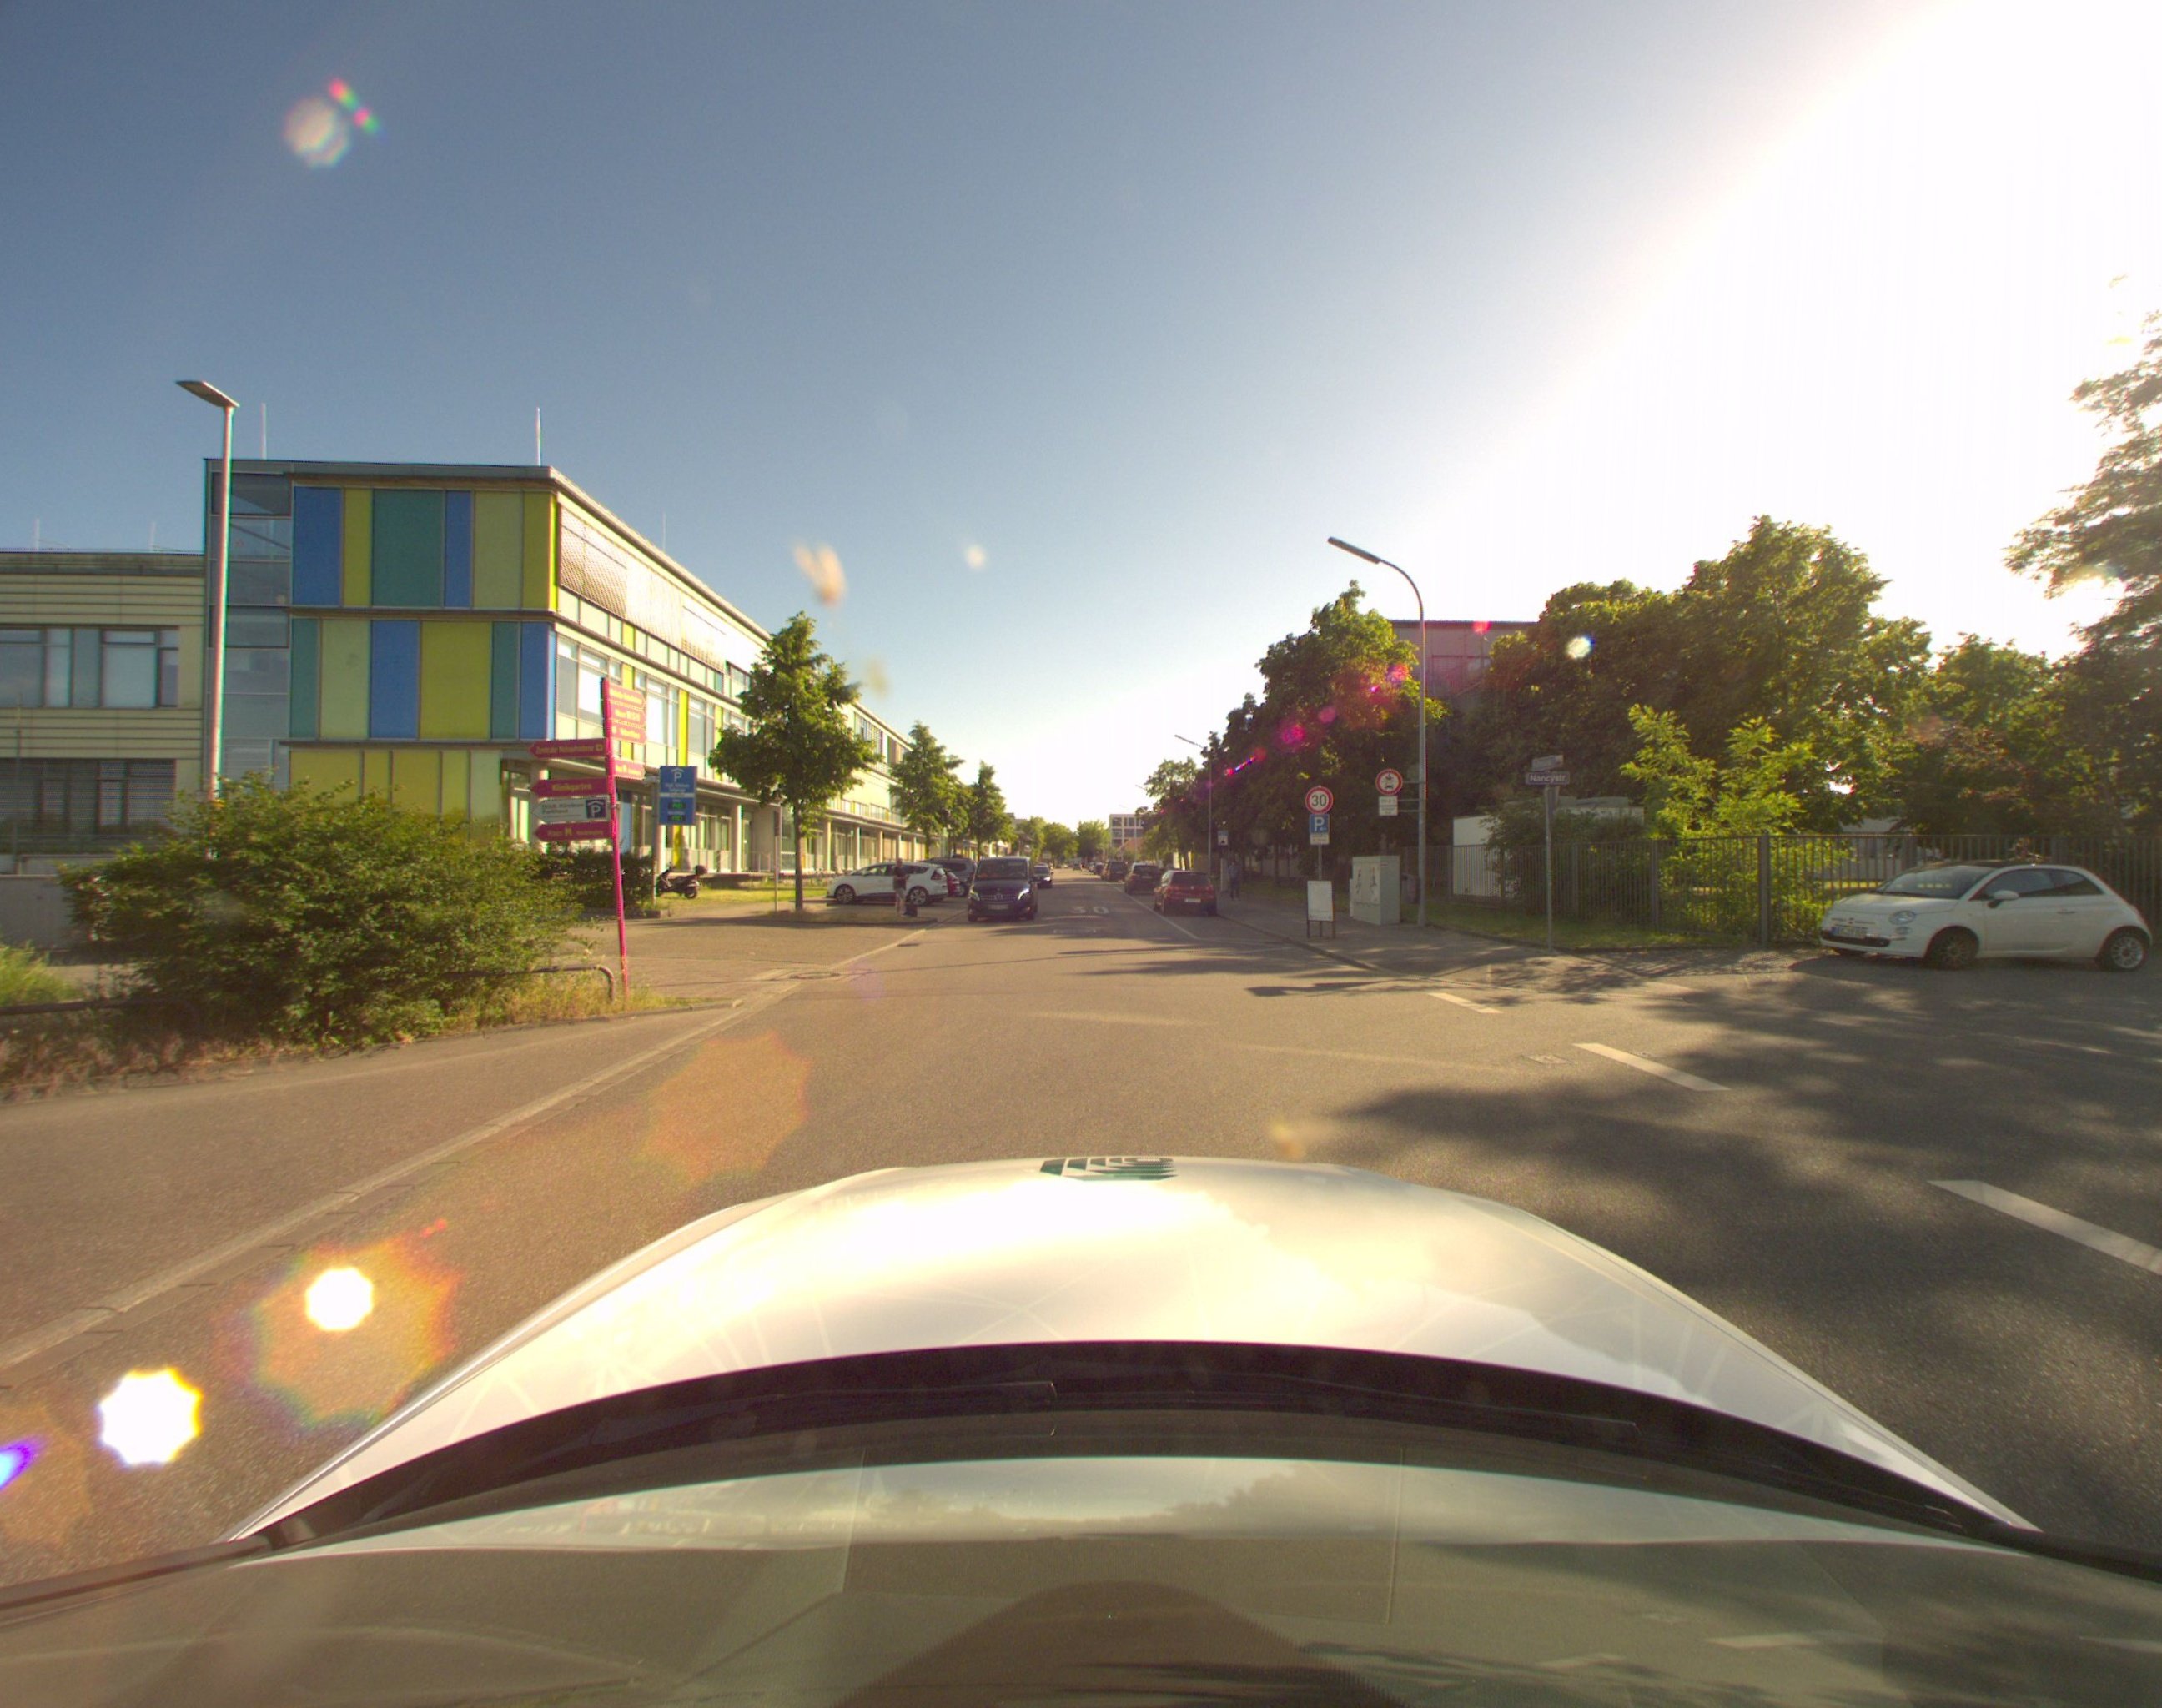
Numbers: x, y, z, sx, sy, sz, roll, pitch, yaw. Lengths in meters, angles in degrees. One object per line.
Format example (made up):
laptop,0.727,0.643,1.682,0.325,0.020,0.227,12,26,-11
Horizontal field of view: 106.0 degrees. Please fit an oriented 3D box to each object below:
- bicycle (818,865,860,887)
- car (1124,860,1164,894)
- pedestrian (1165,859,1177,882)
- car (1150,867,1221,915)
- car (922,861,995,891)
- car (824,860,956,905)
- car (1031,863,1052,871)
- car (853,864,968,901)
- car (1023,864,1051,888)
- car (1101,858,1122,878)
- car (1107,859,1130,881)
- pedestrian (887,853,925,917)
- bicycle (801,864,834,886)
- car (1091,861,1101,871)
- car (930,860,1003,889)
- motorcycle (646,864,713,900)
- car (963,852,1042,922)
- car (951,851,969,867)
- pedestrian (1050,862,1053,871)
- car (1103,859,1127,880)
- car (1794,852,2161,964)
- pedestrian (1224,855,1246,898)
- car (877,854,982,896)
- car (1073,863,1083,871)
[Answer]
bicycle,-13.190,1.201,44.485,0.862,1.153,2.384,1,-1,20
car,3.351,1.205,43.880,1.806,1.666,4.592,1,0,0
pedestrian,6.769,1.259,61.301,0.696,1.661,0.751,-3,-1,-1
car,3.472,1.194,27.845,1.715,1.455,4.649,1,-1,-1
car,-6.997,1.233,46.784,3.980,1.607,1.869,2,-1,-5
car,-7.313,1.077,31.500,4.593,1.651,1.869,0,-1,2
car,-7.523,2.435,156.118,3.975,1.519,1.999,0,-2,-1
car,-7.080,1.169,34.142,4.420,1.501,1.827,0,-1,-1
car,-2.857,1.381,52.969,1.700,1.451,4.081,-1,-1,-4
car,2.979,1.367,81.315,1.869,1.978,3.998,-1,-1,-1
car,3.129,1.363,68.831,1.727,1.830,3.904,0,-1,0
pedestrian,-5.187,0.912,24.149,0.855,1.842,0.826,2,-1,1
bicycle,-14.567,1.161,45.042,0.864,1.153,1.997,2,-1,9
car,2.388,1.917,130.169,1.432,1.560,3.040,0,-1,-1
car,-6.947,1.229,49.739,4.239,1.612,2.045,2,-1,-5
motorcycle,-14.082,0.977,28.600,2.038,1.149,0.498,3,0,-3
car,-2.300,0.948,25.157,1.949,1.867,5.252,-2,-1,-1
car,-16.477,0.703,111.126,1.987,2.014,3.998,0,-2,-1
pedestrian,-5.286,2.213,146.110,0.617,1.624,0.715,-1,-1,-1
car,3.075,1.395,75.070,1.988,1.823,4.196,-1,-1,-1
car,12.713,0.728,11.713,3.535,1.486,1.600,0,-1,0
pedestrian,6.524,0.955,34.533,0.715,1.758,0.884,-2,-1,0
car,-7.321,1.021,39.788,4.728,1.865,1.827,2,-1,-1
car,-0.604,2.487,157.941,1.738,1.543,3.998,1,-1,-1
